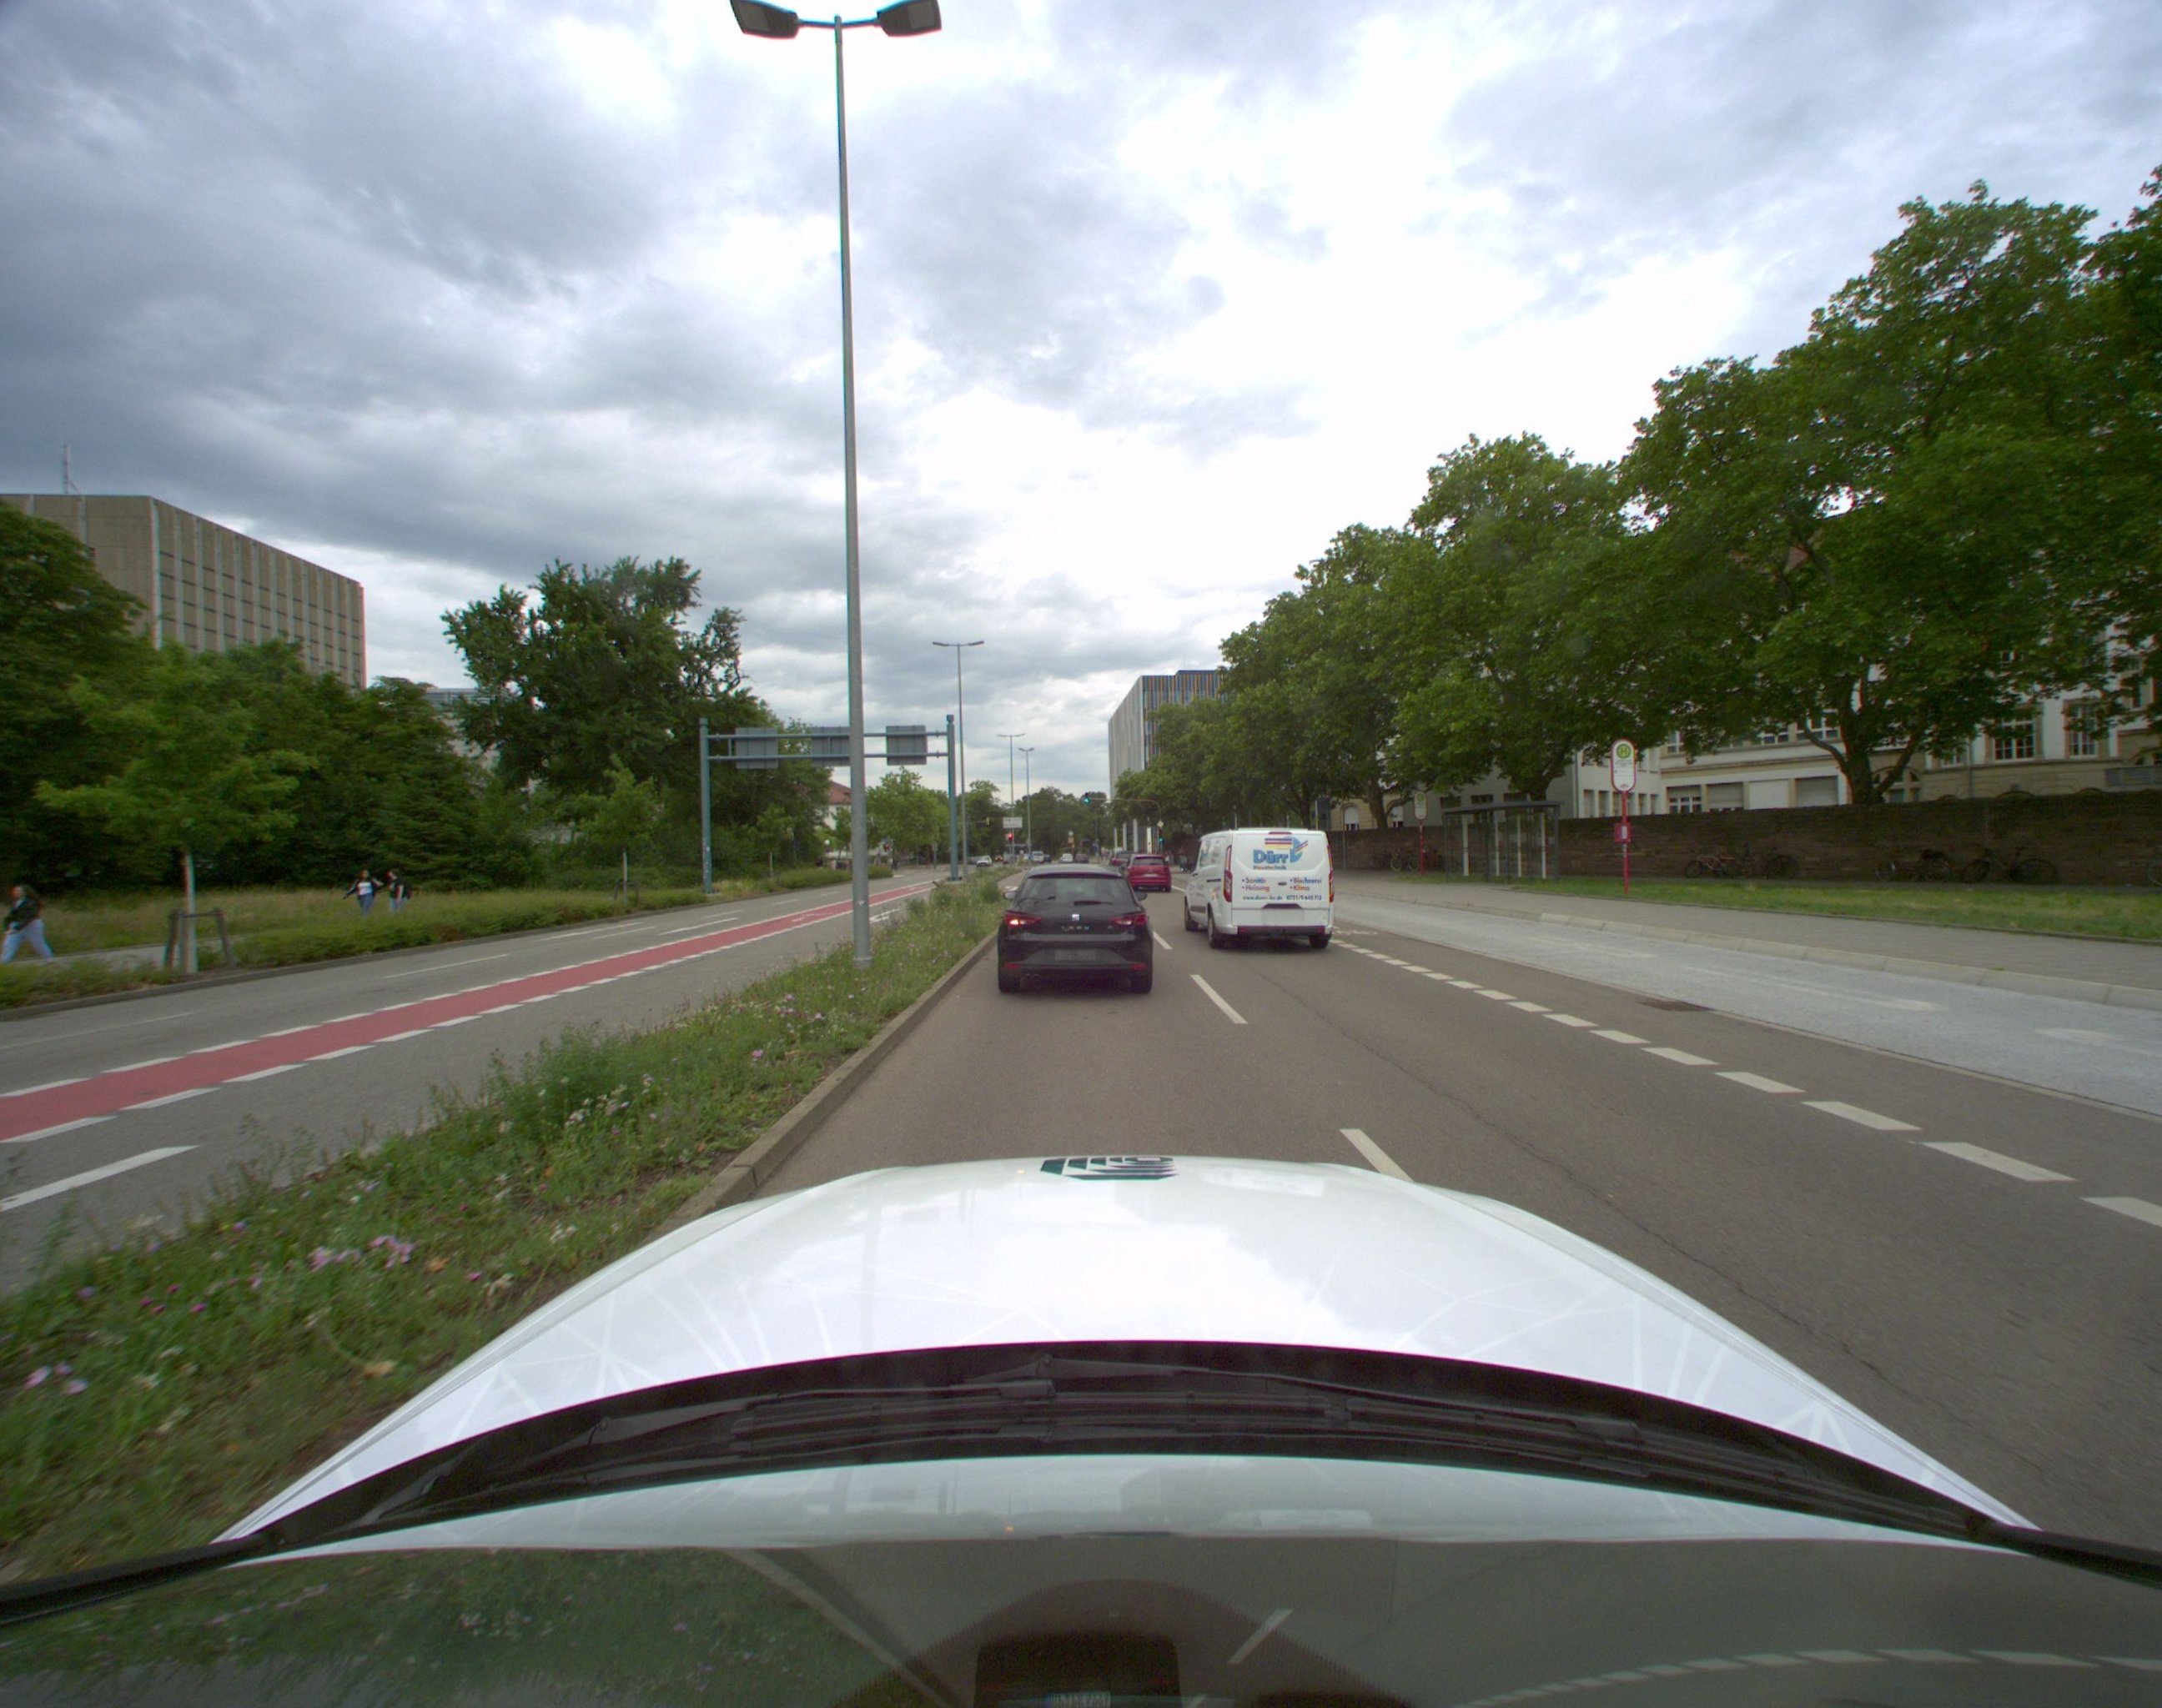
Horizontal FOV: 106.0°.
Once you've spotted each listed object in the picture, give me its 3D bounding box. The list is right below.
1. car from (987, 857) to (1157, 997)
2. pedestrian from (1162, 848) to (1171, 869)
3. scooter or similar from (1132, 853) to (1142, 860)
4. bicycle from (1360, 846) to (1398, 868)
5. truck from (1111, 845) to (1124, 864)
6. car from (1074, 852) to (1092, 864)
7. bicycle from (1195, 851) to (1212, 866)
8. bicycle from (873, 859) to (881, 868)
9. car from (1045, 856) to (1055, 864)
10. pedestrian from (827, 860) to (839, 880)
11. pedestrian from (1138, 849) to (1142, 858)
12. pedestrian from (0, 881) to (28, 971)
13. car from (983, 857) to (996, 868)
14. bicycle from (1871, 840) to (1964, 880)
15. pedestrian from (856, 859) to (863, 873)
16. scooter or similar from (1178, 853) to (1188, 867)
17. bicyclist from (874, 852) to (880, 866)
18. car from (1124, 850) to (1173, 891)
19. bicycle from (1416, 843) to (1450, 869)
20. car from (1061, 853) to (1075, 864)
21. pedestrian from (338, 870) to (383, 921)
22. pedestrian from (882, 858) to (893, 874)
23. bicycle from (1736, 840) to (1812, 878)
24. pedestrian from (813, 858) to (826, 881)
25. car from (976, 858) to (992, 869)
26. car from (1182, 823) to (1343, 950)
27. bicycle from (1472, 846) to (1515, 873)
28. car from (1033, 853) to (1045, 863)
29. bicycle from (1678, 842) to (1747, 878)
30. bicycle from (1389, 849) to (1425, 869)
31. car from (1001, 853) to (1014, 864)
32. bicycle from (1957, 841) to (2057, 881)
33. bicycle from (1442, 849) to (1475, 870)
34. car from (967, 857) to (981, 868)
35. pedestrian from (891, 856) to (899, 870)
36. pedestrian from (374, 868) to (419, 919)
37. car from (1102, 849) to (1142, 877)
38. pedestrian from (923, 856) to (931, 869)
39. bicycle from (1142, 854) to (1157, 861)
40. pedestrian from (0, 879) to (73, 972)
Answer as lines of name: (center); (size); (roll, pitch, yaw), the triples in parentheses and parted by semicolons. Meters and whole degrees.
car: (0.008, 0.770, 10.318); (1.746, 1.432, 3.772); (0, 0, 3)
pedestrian: (7.418, 0.399, 70.666); (0.459, 1.739, 0.550); (-3, 0, -40)
scooter or similar: (9.403, 0.382, 136.819); (1.683, 1.106, 0.493); (-3, 0, -33)
bicycle: (15.624, 0.164, 42.729); (0.723, 1.100, 1.775); (-3, 0, -30)
truck: (4.370, 0.057, 98.365); (1.314, 2.243, 3.400); (-3, 0, -1)
car: (0.229, 0.510, 100.759); (1.895, 1.354, 3.877); (-3, 0, -4)
bicycle: (10.168, 0.383, 67.632); (0.802, 1.174, 1.950); (-5, 1, -6)
bicycle: (-23.828, 1.082, 95.104); (0.668, 1.062, 1.608); (0, -1, -20)
car: (-5.351, 1.025, 139.347); (1.502, 1.193, 3.158); (-3, 0, -4)
pedestrian: (-20.827, 1.343, 68.294); (0.698, 1.636, 0.671); (-3, 0, -1)
pedestrian: (9.265, -0.015, 127.197); (0.469, 1.361, 0.446); (-3, 0, 9)
pedestrian: (-20.711, 1.380, 15.319); (0.706, 1.672, 0.766); (-3, 0, -7)
car: (-13.191, 1.154, 117.265); (1.704, 1.431, 4.216); (-3, 0, -8)
bicycle: (23.342, 0.167, 22.761); (0.597, 1.059, 1.698); (-3, 0, -27)
pedestrian: (-25.296, 1.425, 93.062); (0.573, 1.526, 0.842); (-2, -5, -25)
scooter or similar: (9.381, 0.562, 74.879); (0.428, 1.179, 1.713); (-4, 0, 24)
bicyclist: (-23.828, 0.632, 95.113); (0.668, 1.635, 0.955); (0, -1, -20)
car: (2.830, 0.642, 34.608); (1.941, 1.624, 3.753); (0, 1, 4)
bicycle: (16.897, 0.100, 39.095); (0.500, 1.221, 1.617); (-3, 0, -18)
car: (-1.820, 0.601, 114.002); (1.613, 1.354, 3.994); (-3, 0, -4)
pedestrian: (-20.147, 1.150, 22.794); (0.646, 1.362, 0.677); (-3, 0, -15)
pedestrian: (-22.293, 1.381, 93.699); (0.847, 1.740, 0.821); (0, -5, -40)
bicycle: (22.009, 0.169, 25.896); (0.597, 1.129, 1.698); (-3, 0, -27)
pedestrian: (-20.180, 1.172, 62.892); (0.618, 1.729, 0.818); (-3, 0, -1)
car: (-13.091, 1.275, 109.982); (1.603, 1.381, 3.807); (-3, 0, -1)
car: (3.072, 0.492, 14.768); (1.960, 1.972, 4.343); (0, 0, 0)
bicycle: (17.815, 0.222, 35.235); (0.599, 1.104, 1.643); (-3, 0, -21)
car: (-6.456, 0.605, 123.629); (1.692, 1.503, 4.004); (-3, 0, -4)
bicycle: (21.253, 0.202, 27.440); (0.597, 1.136, 1.698); (-3, 0, -27)
bicycle: (16.315, 0.256, 40.813); (0.655, 0.951, 1.759); (-3, 0, -18)
car: (-10.833, 0.750, 120.419); (1.762, 1.460, 4.781); (-4, -1, -6)
bicycle: (24.089, 0.185, 21.219); (0.553, 0.992, 1.621); (-3, 0, -30)
bicycle: (17.407, 0.243, 37.567); (0.417, 0.942, 1.516); (-3, 0, -18)
car: (-18.901, 1.508, 144.265); (1.901, 1.716, 3.999); (-3, 0, -1)
pedestrian: (-21.919, 1.020, 95.815); (0.792, 1.558, 0.694); (-1, -4, -21)
pedestrian: (-19.128, 1.093, 22.767); (0.646, 1.358, 0.708); (-3, 0, -15)
car: (2.730, 0.583, 54.825); (1.913, 1.664, 4.103); (-3, 0, -8)
pedestrian: (-19.652, 1.056, 104.203); (0.874, 1.586, 0.542); (-3, 0, -8)
bicycle: (9.670, 0.456, 114.712); (1.894, 0.898, 0.692); (-3, 0, -22)
pedestrian: (-19.888, 1.341, 15.432); (0.585, 1.660, 0.719); (-3, 0, -7)
